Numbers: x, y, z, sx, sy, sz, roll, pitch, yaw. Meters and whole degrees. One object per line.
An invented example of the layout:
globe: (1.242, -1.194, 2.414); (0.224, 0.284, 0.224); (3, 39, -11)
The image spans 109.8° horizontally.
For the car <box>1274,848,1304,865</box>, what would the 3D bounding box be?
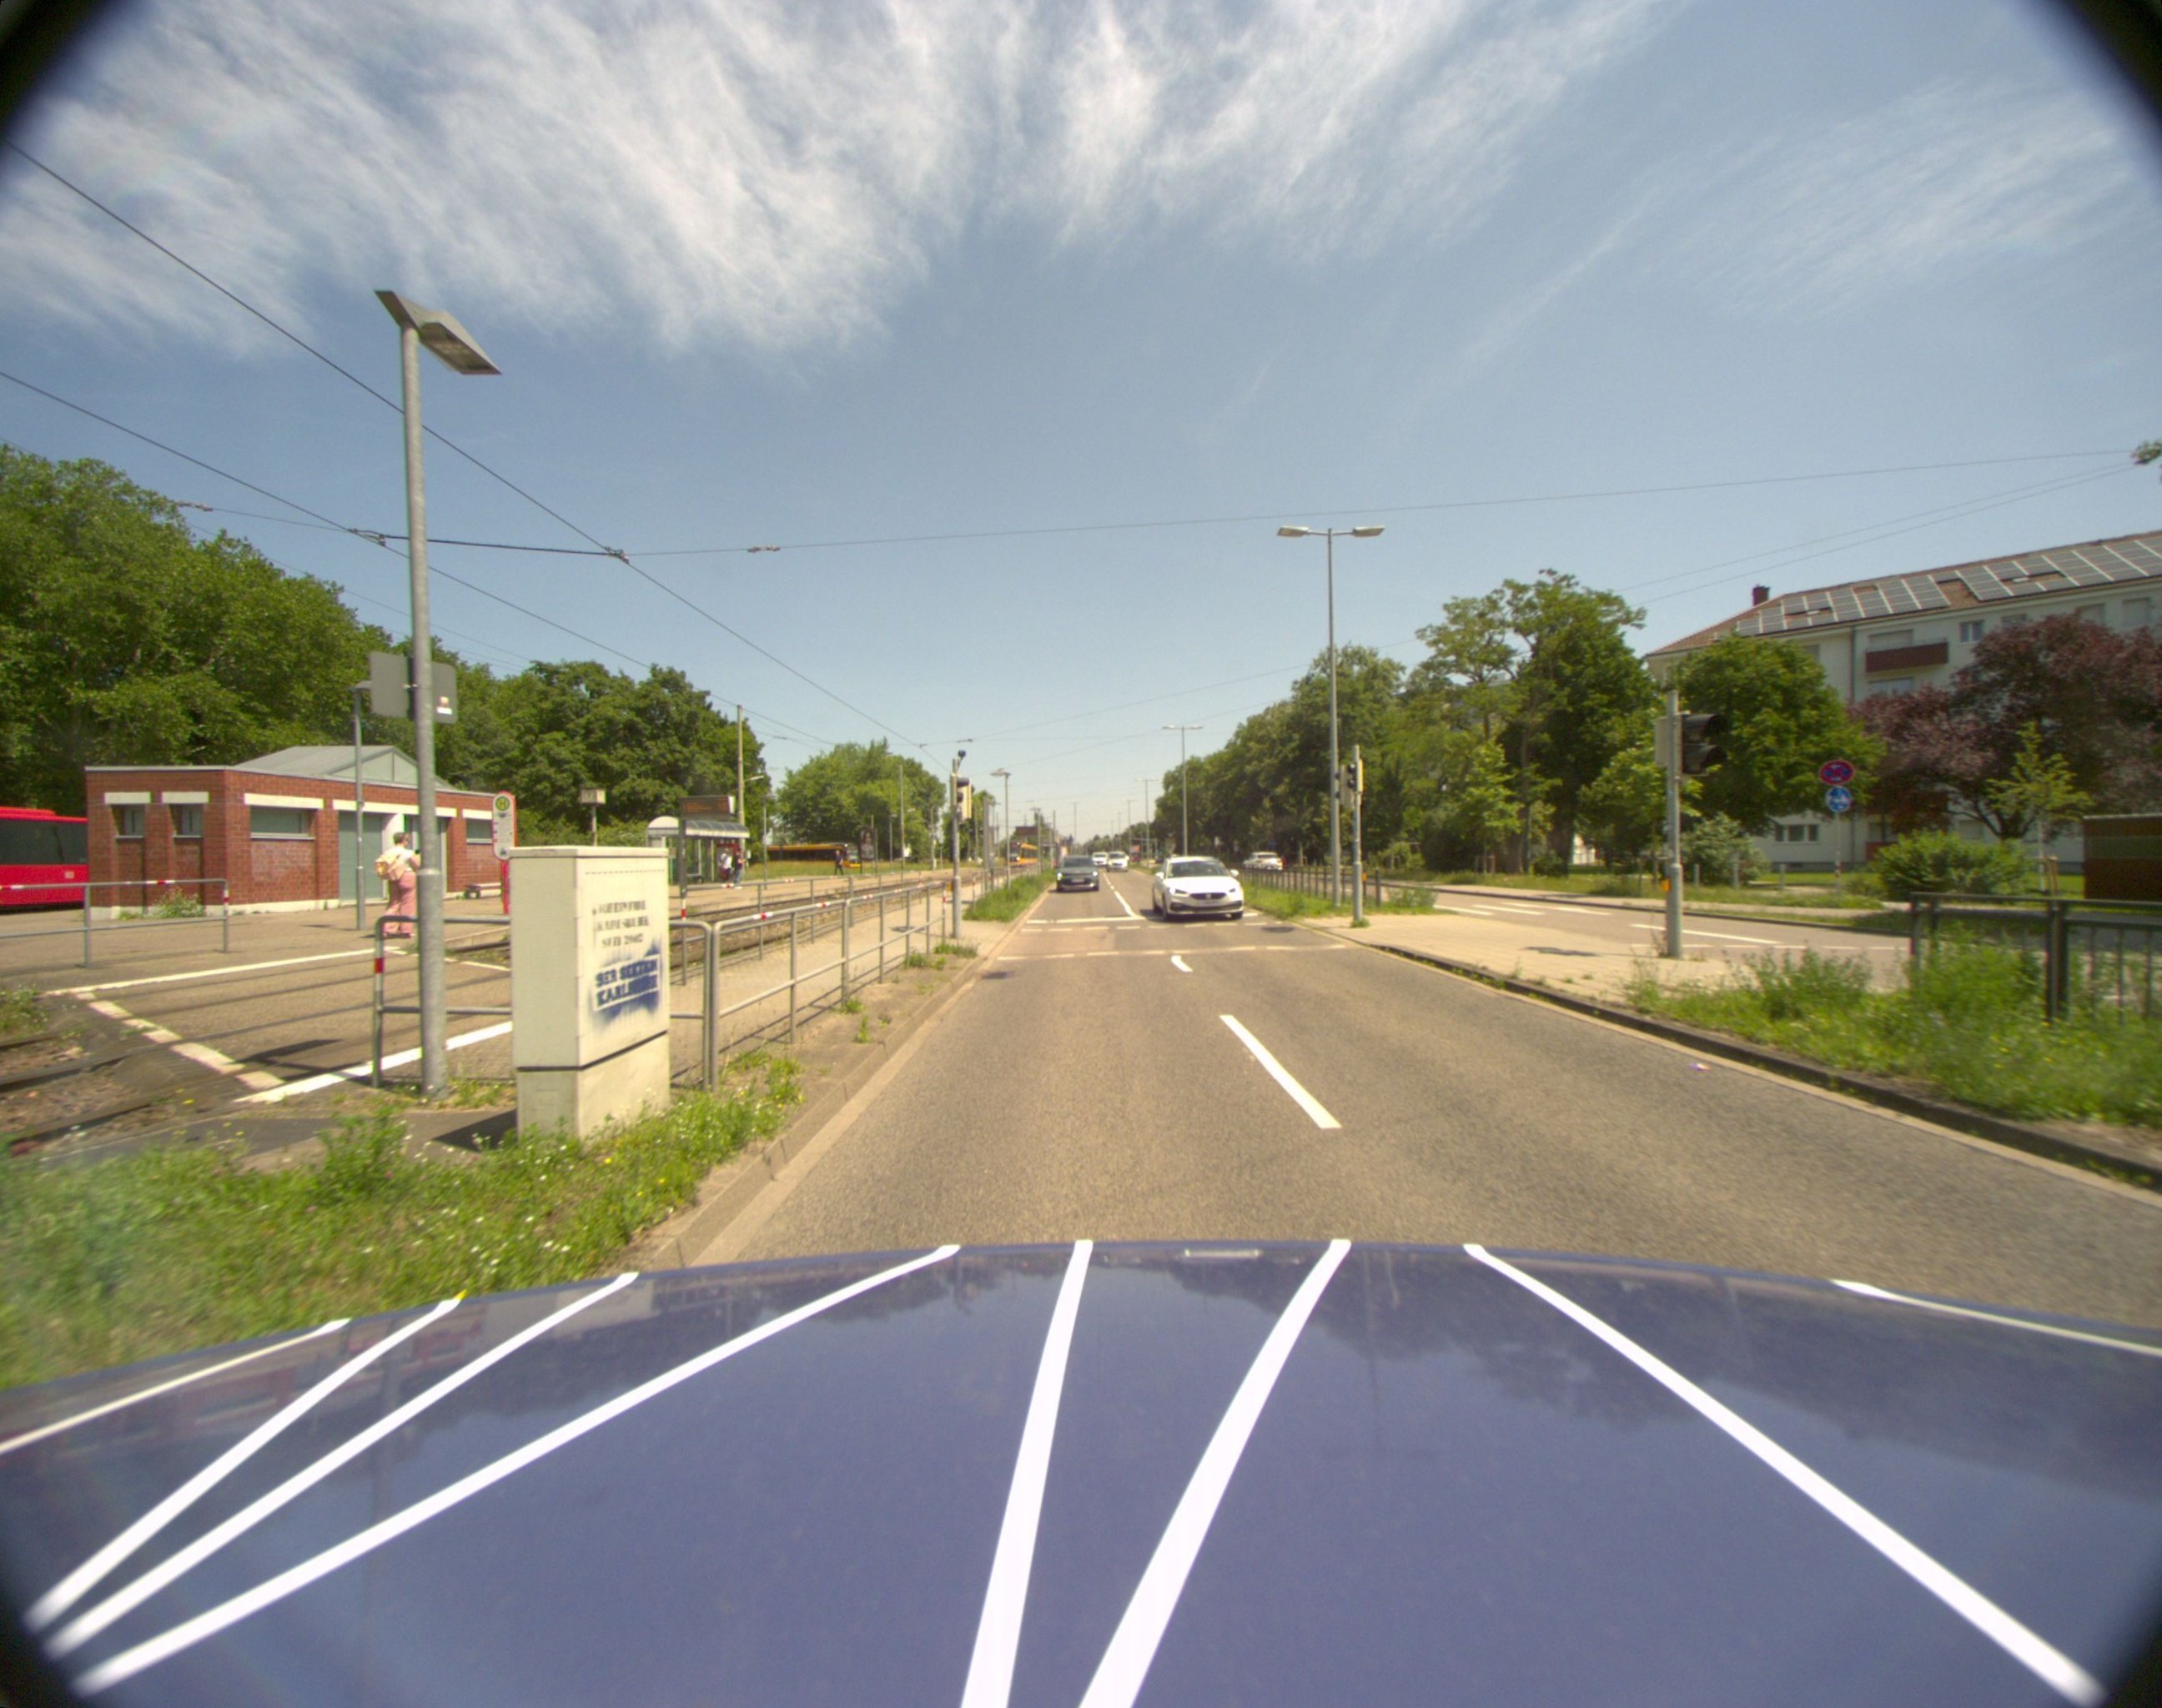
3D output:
car: (20.593, 0.209, 75.342); (1.998, 1.576, 4.000); (0, 0, 1)

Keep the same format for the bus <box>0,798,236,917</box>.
bus: (-33.042, 0.133, 23.856); (2.770, 3.419, 12.423); (-3, 1, -18)

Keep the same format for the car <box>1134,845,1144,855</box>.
car: (12.918, -0.900, 168.243); (1.998, 2.002, 4.000); (0, 1, 1)

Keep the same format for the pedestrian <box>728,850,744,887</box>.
pedestrian: (-15.055, 0.644, 33.170); (0.361, 1.587, 0.483); (-2, 2, 4)

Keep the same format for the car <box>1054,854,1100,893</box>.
car: (-0.101, 0.804, 33.459); (1.787, 1.554, 4.136); (0, 0, 3)

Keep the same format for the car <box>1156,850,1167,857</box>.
car: (16.521, -0.122, 156.696); (1.772, 1.545, 4.083); (0, 0, -1)

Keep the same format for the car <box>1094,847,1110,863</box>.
car: (2.612, 0.068, 96.173); (1.921, 2.002, 3.999); (-1, 1, 0)

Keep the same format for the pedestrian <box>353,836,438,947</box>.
pedestrian: (-11.325, 0.593, 12.579); (0.637, 1.749, 0.815); (-3, 2, -13)

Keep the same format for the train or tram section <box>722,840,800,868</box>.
train or tram section: (-45.511, 0.068, 107.904); (13.216, 3.629, 2.720); (-2, 2, 31)

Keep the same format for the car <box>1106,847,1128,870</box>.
car: (3.386, 0.376, 71.073); (1.998, 2.002, 4.000); (-1, 1, 3)

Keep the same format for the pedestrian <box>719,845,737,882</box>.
pedestrian: (-17.450, 0.458, 37.584); (0.382, 1.764, 0.740); (-2, 2, 4)

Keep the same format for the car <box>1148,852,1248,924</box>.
car: (2.730, 0.742, 18.535); (1.772, 1.460, 4.111); (-2, 1, 0)

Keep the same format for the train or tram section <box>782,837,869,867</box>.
train or tram section: (-34.197, -0.249, 101.249); (13.151, 3.629, 2.720); (-2, 2, 30)

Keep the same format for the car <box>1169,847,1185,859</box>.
car: (15.696, -0.214, 124.440); (1.864, 1.748, 4.478); (-3, 1, -2)

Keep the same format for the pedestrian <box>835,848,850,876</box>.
pedestrian: (-15.384, 0.507, 48.952); (0.707, 1.754, 0.657); (0, 1, 3)

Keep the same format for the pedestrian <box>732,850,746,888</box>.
pedestrian: (-14.764, 0.633, 32.764); (0.361, 1.637, 0.445); (0, 1, 4)

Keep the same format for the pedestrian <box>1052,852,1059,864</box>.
pedestrian: (-2.265, 0.360, 68.190); (0.577, 1.034, 0.579); (-1, 1, 1)

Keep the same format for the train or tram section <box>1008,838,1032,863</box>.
train or tram section: (-8.540, -0.497, 106.451); (2.524, 3.303, 7.260); (-1, 0, 2)

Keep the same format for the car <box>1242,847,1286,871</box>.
car: (12.351, 0.316, 51.503); (1.826, 1.563, 4.346); (0, 0, -1)

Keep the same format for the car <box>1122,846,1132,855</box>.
car: (9.457, -0.705, 156.773); (1.816, 1.631, 3.999); (-2, 1, 1)
